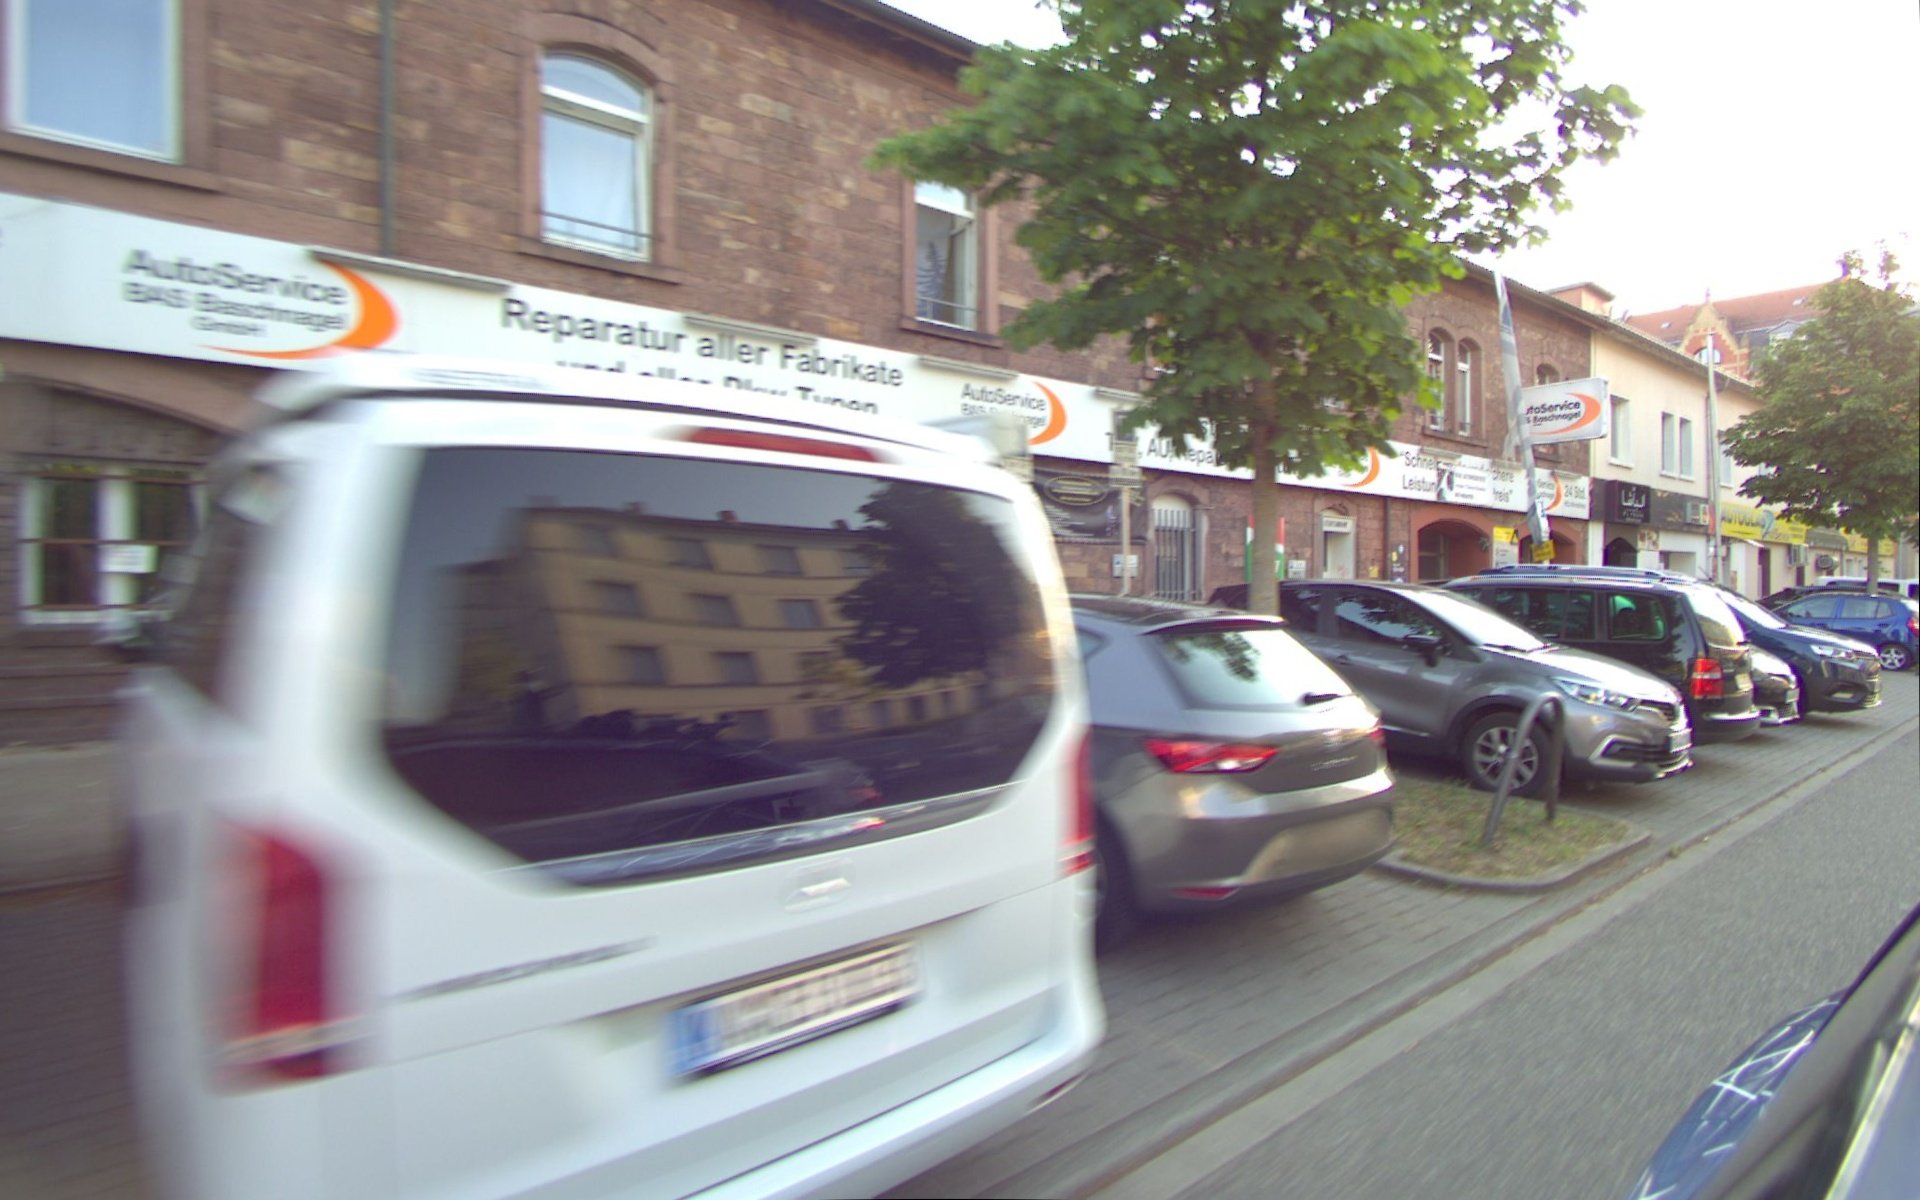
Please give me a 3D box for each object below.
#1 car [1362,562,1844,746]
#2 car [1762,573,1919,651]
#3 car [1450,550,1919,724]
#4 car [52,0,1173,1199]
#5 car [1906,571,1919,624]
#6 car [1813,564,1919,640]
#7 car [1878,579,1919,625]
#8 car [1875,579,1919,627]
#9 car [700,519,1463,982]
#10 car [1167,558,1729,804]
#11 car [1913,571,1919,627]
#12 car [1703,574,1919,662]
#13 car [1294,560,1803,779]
[{"bbox_3d":[7.423,0.461,12.095,1.946,1.594,4.425,0,4,-40],"label":"car"},{"bbox_3d":[22.797,0.301,24.654,1.963,1.651,4.712,0,4,-36],"label":"car"},{"bbox_3d":[9.581,0.331,13.763,1.981,1.775,4.799,1,4,-40],"label":"car"},{"bbox_3d":[-1.521,0.229,3.290,1.965,1.927,3.995,-1,1,-40],"label":"car"},{"bbox_3d":[36.469,0.002,35.588,1.962,1.881,4.308,0,3,-35],"label":"car"},{"bbox_3d":[26.730,0.119,27.789,1.974,1.883,4.605,-1,6,-36],"label":"car"},{"bbox_3d":[34.164,0.138,33.926,1.964,1.514,4.735,-1,3,-38],"label":"car"},{"bbox_3d":[32.117,0.155,32.505,1.651,1.514,3.795,-1,3,-39],"label":"car"},{"bbox_3d":[0.284,0.471,5.449,1.745,1.528,3.995,-1,1,-39],"label":"car"},{"bbox_3d":[3.898,0.495,8.632,1.788,1.585,3.954,-1,1,-40],"label":"car"},{"bbox_3d":[38.608,-0.057,37.128,2.110,2.127,4.978,-2,1,-33],"label":"car"},{"bbox_3d":[18.977,0.335,22.126,1.811,1.564,3.999,-1,5,-38],"label":"car"},{"bbox_3d":[5.689,0.484,10.193,1.861,1.638,3.997,-1,4,-40],"label":"car"}]
